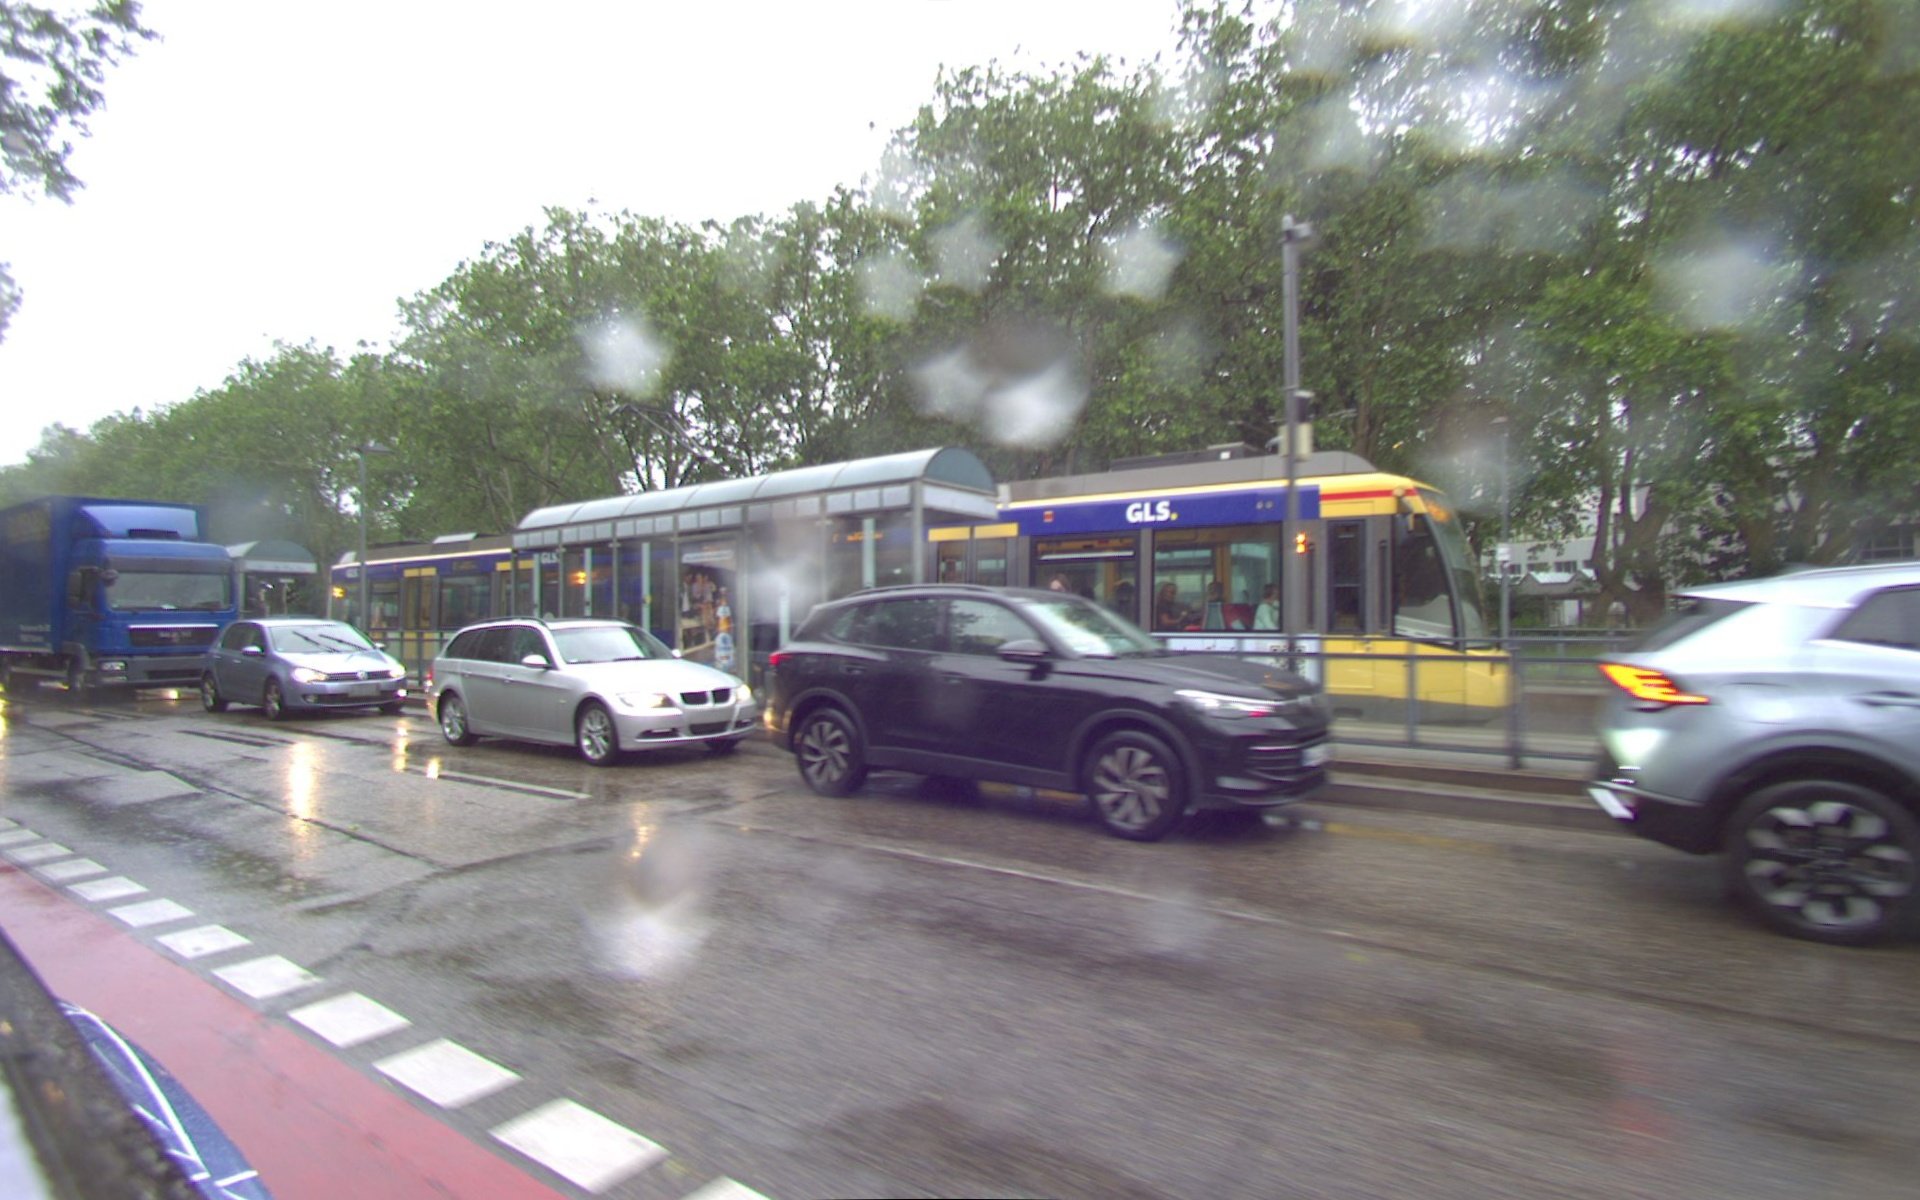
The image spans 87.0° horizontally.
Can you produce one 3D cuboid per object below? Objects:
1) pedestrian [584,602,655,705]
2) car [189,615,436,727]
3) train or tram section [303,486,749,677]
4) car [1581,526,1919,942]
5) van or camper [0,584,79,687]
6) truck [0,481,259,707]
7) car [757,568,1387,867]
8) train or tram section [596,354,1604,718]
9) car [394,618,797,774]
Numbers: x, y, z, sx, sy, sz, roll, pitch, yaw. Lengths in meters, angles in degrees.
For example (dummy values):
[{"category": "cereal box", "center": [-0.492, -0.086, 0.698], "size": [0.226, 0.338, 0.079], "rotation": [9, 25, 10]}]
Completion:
[{"category": "pedestrian", "center": [-4.947, 0.759, 14.722], "size": [0.749, 1.429, 0.627], "rotation": [-1, 1, 35]}, {"category": "car", "center": [-10.100, 1.014, 15.710], "size": [4.069, 1.498, 1.873], "rotation": [-1, -1, 35]}, {"category": "train or tram section", "center": [-11.008, -0.284, 24.269], "size": [13.636, 3.538, 3.481], "rotation": [-1, 1, 37]}, {"category": "car", "center": [5.210, 0.524, 4.096], "size": [4.446, 1.636, 1.897], "rotation": [-1, -2, 37]}, {"category": "van or camper", "center": [-26.603, 0.939, 28.026], "size": [6.420, 2.589, 1.975], "rotation": [-1, 1, 37]}, {"category": "truck", "center": [-18.317, 0.018, 21.409], "size": [9.790, 3.919, 2.516], "rotation": [-1, -3, 36]}, {"category": "car", "center": [0.701, 0.687, 7.615], "size": [4.311, 1.633, 1.976], "rotation": [-1, -1, 35]}, {"category": "train or tram section", "center": [0.605, -0.517, 15.532], "size": [15.472, 3.438, 3.510], "rotation": [-1, 1, 36]}, {"category": "car", "center": [-4.157, 0.924, 11.269], "size": [4.597, 1.405, 1.976], "rotation": [-1, -2, 36]}]
